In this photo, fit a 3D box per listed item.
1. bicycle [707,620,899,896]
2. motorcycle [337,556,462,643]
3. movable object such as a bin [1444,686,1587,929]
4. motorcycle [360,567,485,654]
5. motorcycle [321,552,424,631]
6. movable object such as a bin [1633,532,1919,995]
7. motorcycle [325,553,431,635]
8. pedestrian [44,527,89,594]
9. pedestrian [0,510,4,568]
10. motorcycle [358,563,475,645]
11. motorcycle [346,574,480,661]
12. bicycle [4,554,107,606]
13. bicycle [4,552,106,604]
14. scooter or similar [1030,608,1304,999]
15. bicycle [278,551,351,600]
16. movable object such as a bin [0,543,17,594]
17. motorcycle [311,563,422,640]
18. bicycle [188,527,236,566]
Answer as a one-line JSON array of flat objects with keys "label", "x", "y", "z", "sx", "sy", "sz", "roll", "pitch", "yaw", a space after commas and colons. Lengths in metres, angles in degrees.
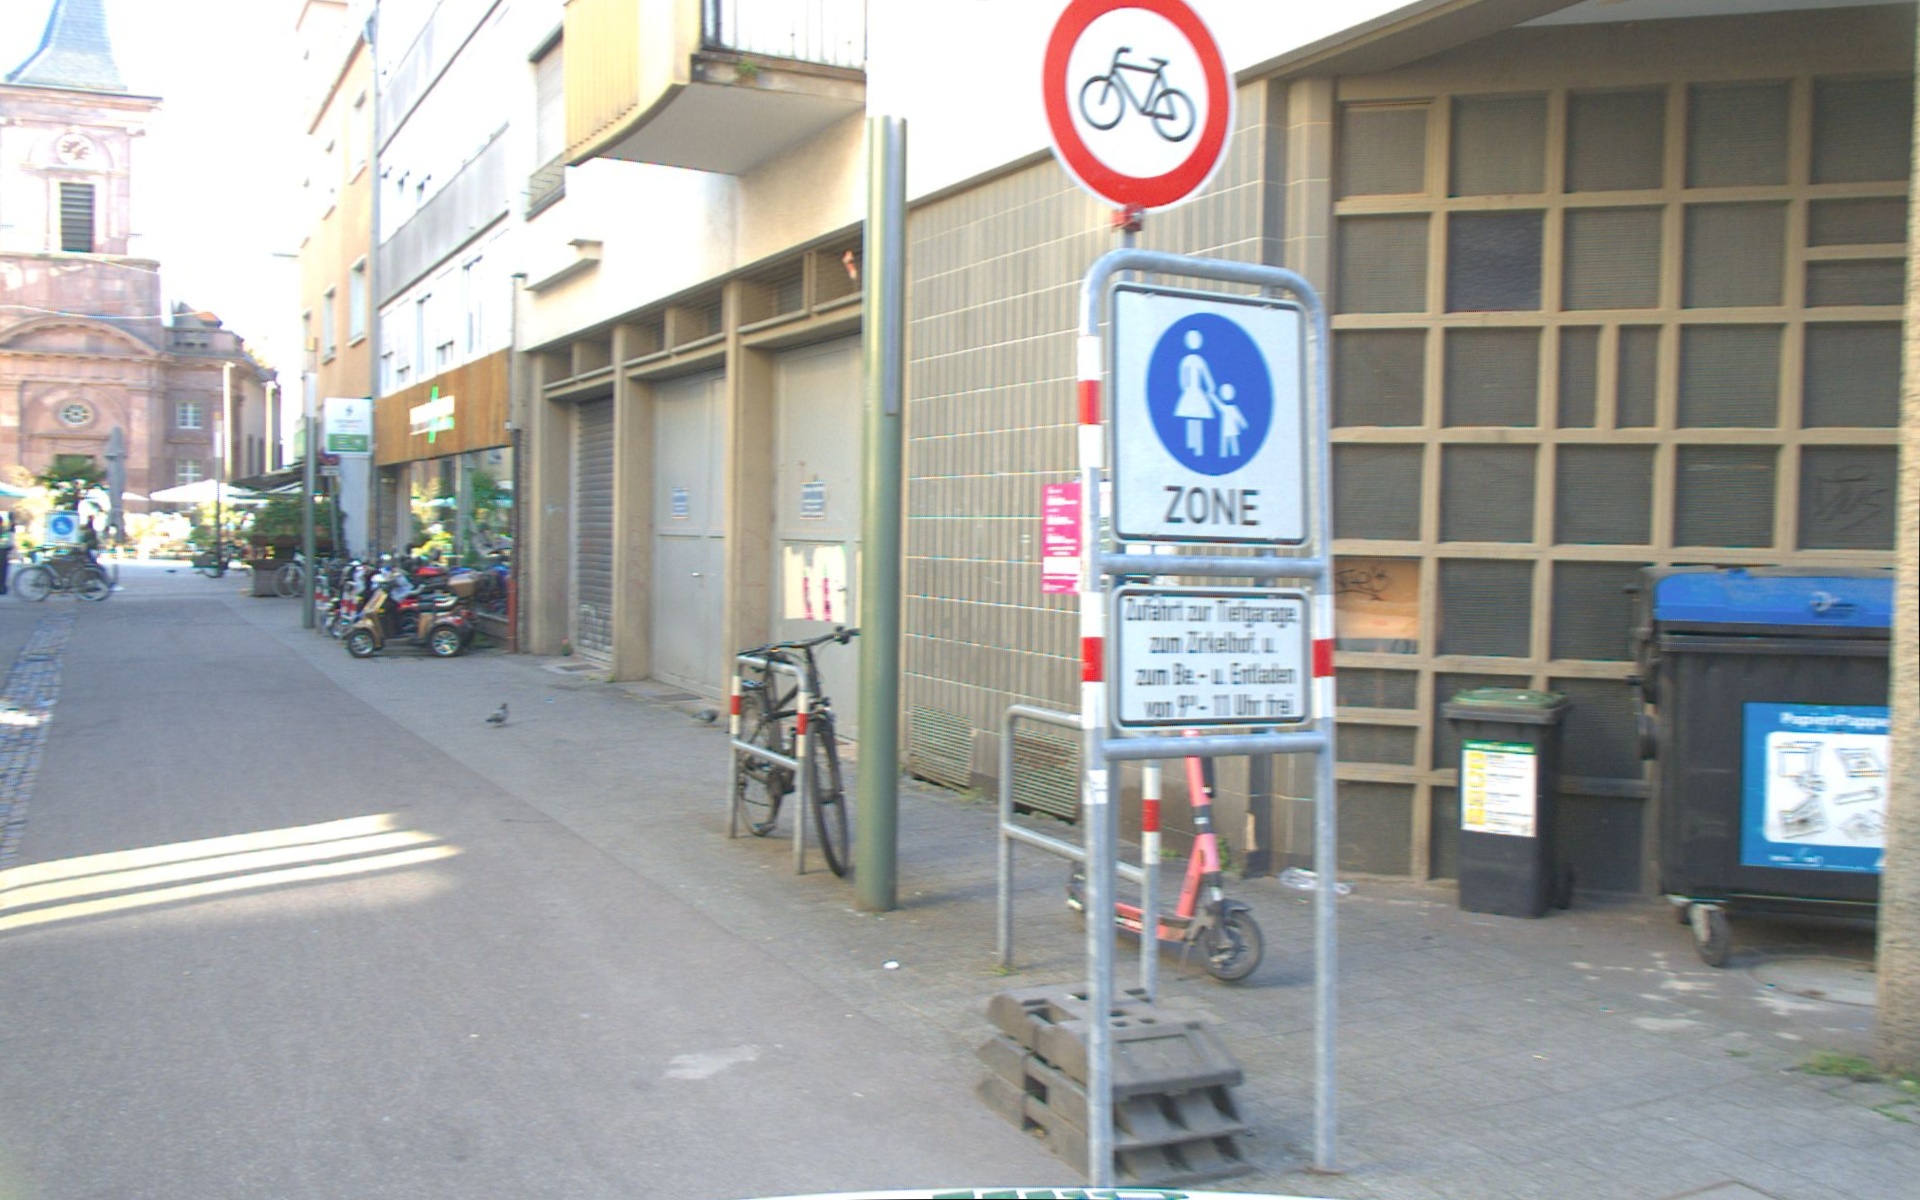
[{"label": "bicycle", "x": -0.808, "y": 0.700, "z": 8.076, "sx": 0.440, "sy": 1.159, "sz": 1.698, "roll": 1, "pitch": 1, "yaw": -22}, {"label": "motorcycle", "x": -7.880, "y": -0.008, "z": 23.294, "sx": 1.595, "sy": 1.195, "sz": 0.479, "roll": 0, "pitch": 2, "yaw": -10}, {"label": "movable object such as a bin", "x": 2.369, "y": 0.868, "z": 7.095, "sx": 0.528, "sy": 0.939, "sz": 0.514, "roll": 1, "pitch": 2, "yaw": 15}, {"label": "motorcycle", "x": -6.929, "y": 0.135, "z": 21.369, "sx": 1.489, "sy": 1.094, "sz": 0.411, "roll": 0, "pitch": 2, "yaw": -10}, {"label": "motorcycle", "x": -9.143, "y": -0.136, "z": 25.773, "sx": 1.458, "sy": 1.201, "sz": 0.411, "roll": 0, "pitch": 2, "yaw": -13}, {"label": "movable object such as a bin", "x": 3.393, "y": 0.562, "z": 6.462, "sx": 1.260, "sy": 1.616, "sz": 1.156, "roll": 2, "pitch": 3, "yaw": 17}, {"label": "motorcycle", "x": -8.673, "y": -0.087, "z": 24.690, "sx": 1.458, "sy": 1.201, "sz": 0.411, "roll": 0, "pitch": 2, "yaw": -13}, {"label": "pedestrian", "x": -20.194, "y": -0.893, "z": 37.403, "sx": 0.873, "sy": 1.489, "sz": 0.724, "roll": 0, "pitch": 2, "yaw": -28}, {"label": "pedestrian", "x": -30.351, "y": -1.921, "z": 51.897, "sx": 0.609, "sy": 1.840, "sz": 0.608, "roll": 0, "pitch": 2, "yaw": -32}, {"label": "motorcycle", "x": -7.329, "y": 0.054, "z": 22.350, "sx": 1.457, "sy": 1.094, "sz": 0.411, "roll": 0, "pitch": 2, "yaw": -10}, {"label": "motorcycle", "x": -6.795, "y": 0.209, "z": 20.588, "sx": 1.535, "sy": 1.059, "sz": 0.372, "roll": 0, "pitch": 2, "yaw": -10}, {"label": "bicycle", "x": -18.274, "y": -0.402, "z": 33.424, "sx": 1.805, "sy": 1.022, "sz": 0.377, "roll": 0, "pitch": 2, "yaw": -32}, {"label": "bicycle", "x": -18.469, "y": -0.445, "z": 33.775, "sx": 1.805, "sy": 1.022, "sz": 0.377, "roll": 0, "pitch": 2, "yaw": -32}, {"label": "scooter or similar", "x": 0.734, "y": 0.690, "z": 6.173, "sx": 0.304, "sy": 1.274, "sz": 1.226, "roll": 0, "pitch": 2, "yaw": -31}, {"label": "bicycle", "x": -13.827, "y": -0.531, "z": 35.447, "sx": 1.442, "sy": 1.022, "sz": 0.569, "roll": 0, "pitch": 2, "yaw": -22}, {"label": "movable object such as a bin", "x": -20.829, "y": -0.688, "z": 35.789, "sx": 0.713, "sy": 1.093, "sz": 0.370, "roll": 0, "pitch": 2, "yaw": -30}, {"label": "motorcycle", "x": -8.573, "y": 0.019, "z": 23.919, "sx": 1.457, "sy": 1.094, "sz": 0.411, "roll": 0, "pitch": 2, "yaw": -10}, {"label": "bicycle", "x": -26.323, "y": -1.869, "z": 58.207, "sx": 0.358, "sy": 1.330, "sz": 1.587, "roll": 2, "pitch": 2, "yaw": 33}]
